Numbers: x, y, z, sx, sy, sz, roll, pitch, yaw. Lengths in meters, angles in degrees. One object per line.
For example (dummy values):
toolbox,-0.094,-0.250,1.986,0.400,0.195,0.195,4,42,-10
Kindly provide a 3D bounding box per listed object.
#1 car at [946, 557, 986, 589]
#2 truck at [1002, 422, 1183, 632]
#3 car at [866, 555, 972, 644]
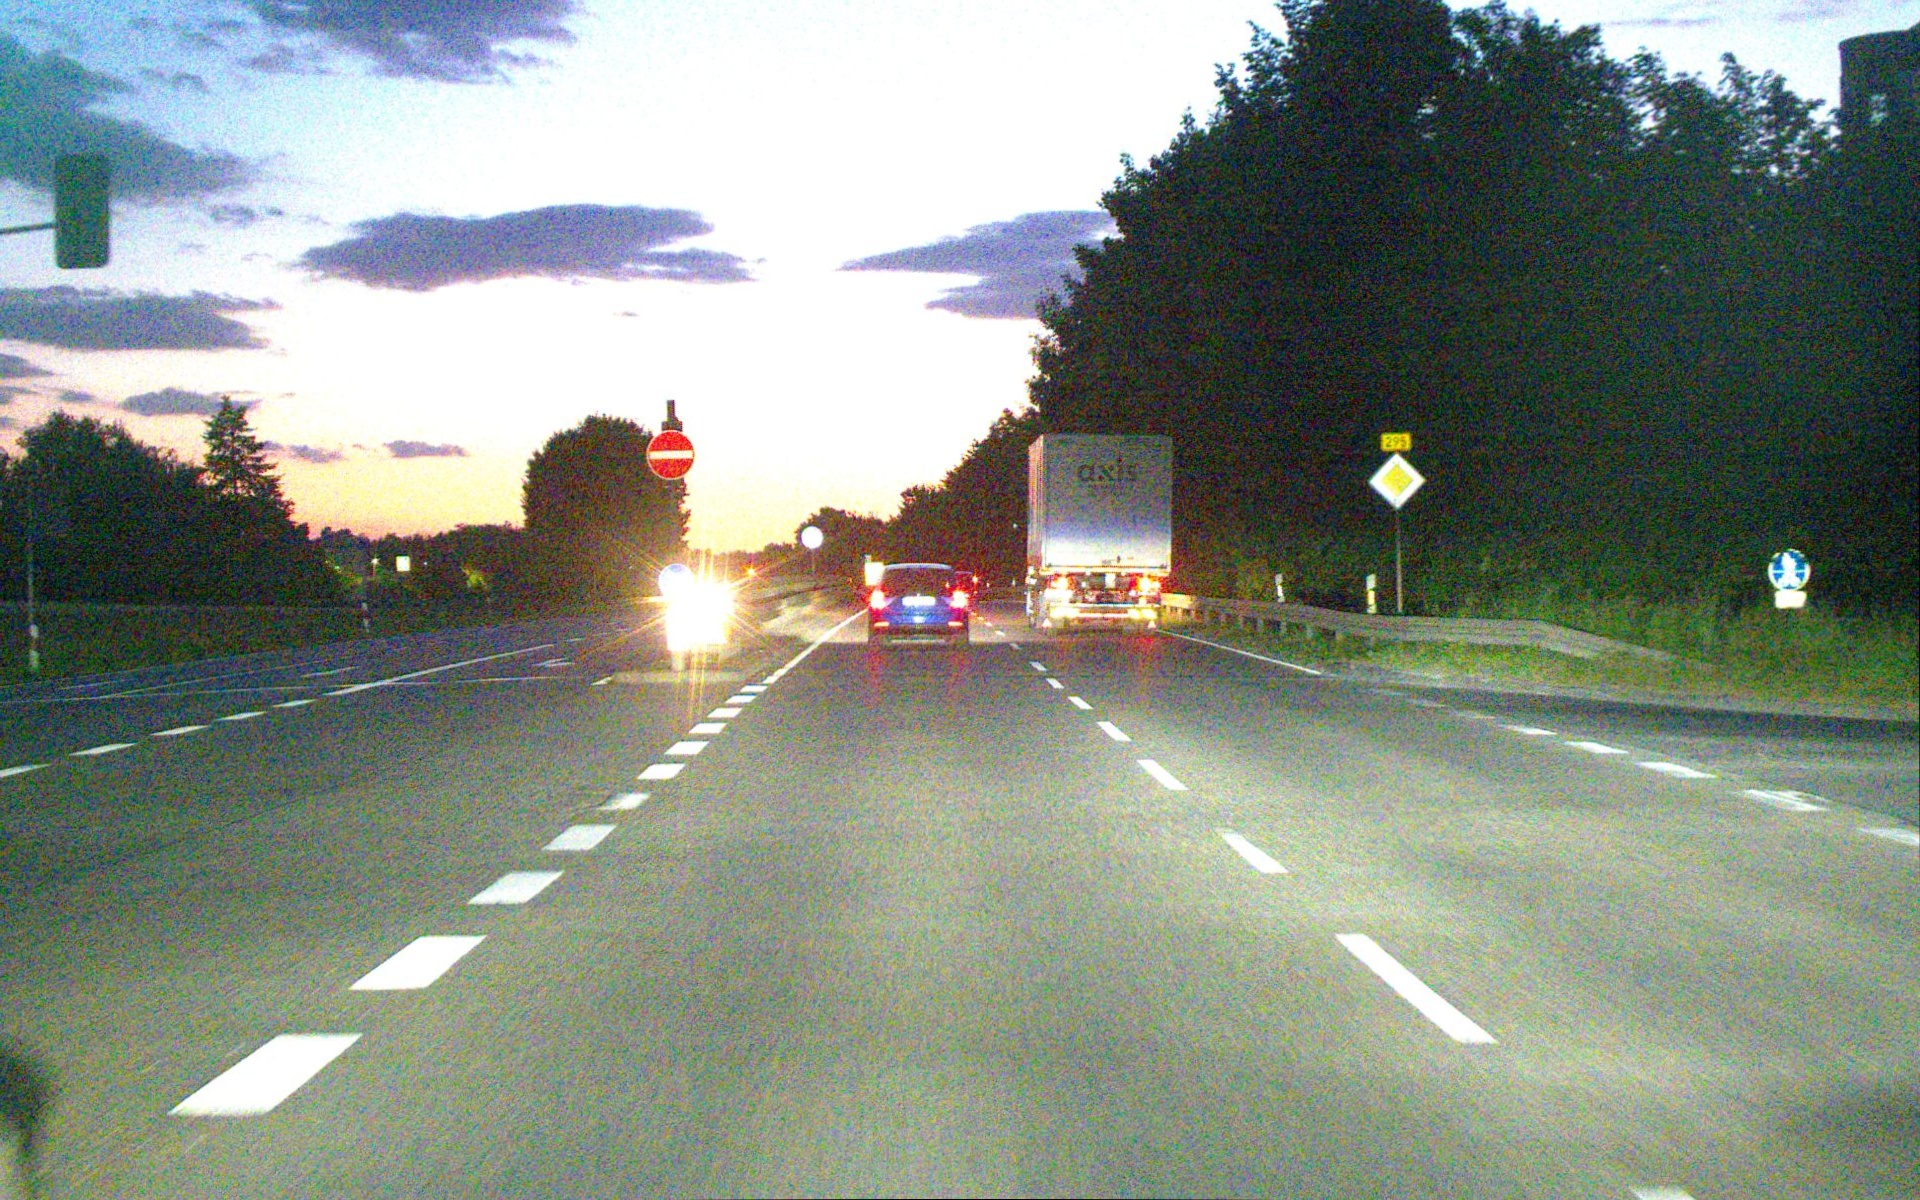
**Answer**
car,0.284,-1.244,159.303,1.695,1.447,3.914,0,1,-2
truck,2.668,-1.499,73.505,2.883,4.092,12.685,0,1,-2
car,-0.729,-0.029,58.389,1.695,1.447,3.914,0,1,-2
